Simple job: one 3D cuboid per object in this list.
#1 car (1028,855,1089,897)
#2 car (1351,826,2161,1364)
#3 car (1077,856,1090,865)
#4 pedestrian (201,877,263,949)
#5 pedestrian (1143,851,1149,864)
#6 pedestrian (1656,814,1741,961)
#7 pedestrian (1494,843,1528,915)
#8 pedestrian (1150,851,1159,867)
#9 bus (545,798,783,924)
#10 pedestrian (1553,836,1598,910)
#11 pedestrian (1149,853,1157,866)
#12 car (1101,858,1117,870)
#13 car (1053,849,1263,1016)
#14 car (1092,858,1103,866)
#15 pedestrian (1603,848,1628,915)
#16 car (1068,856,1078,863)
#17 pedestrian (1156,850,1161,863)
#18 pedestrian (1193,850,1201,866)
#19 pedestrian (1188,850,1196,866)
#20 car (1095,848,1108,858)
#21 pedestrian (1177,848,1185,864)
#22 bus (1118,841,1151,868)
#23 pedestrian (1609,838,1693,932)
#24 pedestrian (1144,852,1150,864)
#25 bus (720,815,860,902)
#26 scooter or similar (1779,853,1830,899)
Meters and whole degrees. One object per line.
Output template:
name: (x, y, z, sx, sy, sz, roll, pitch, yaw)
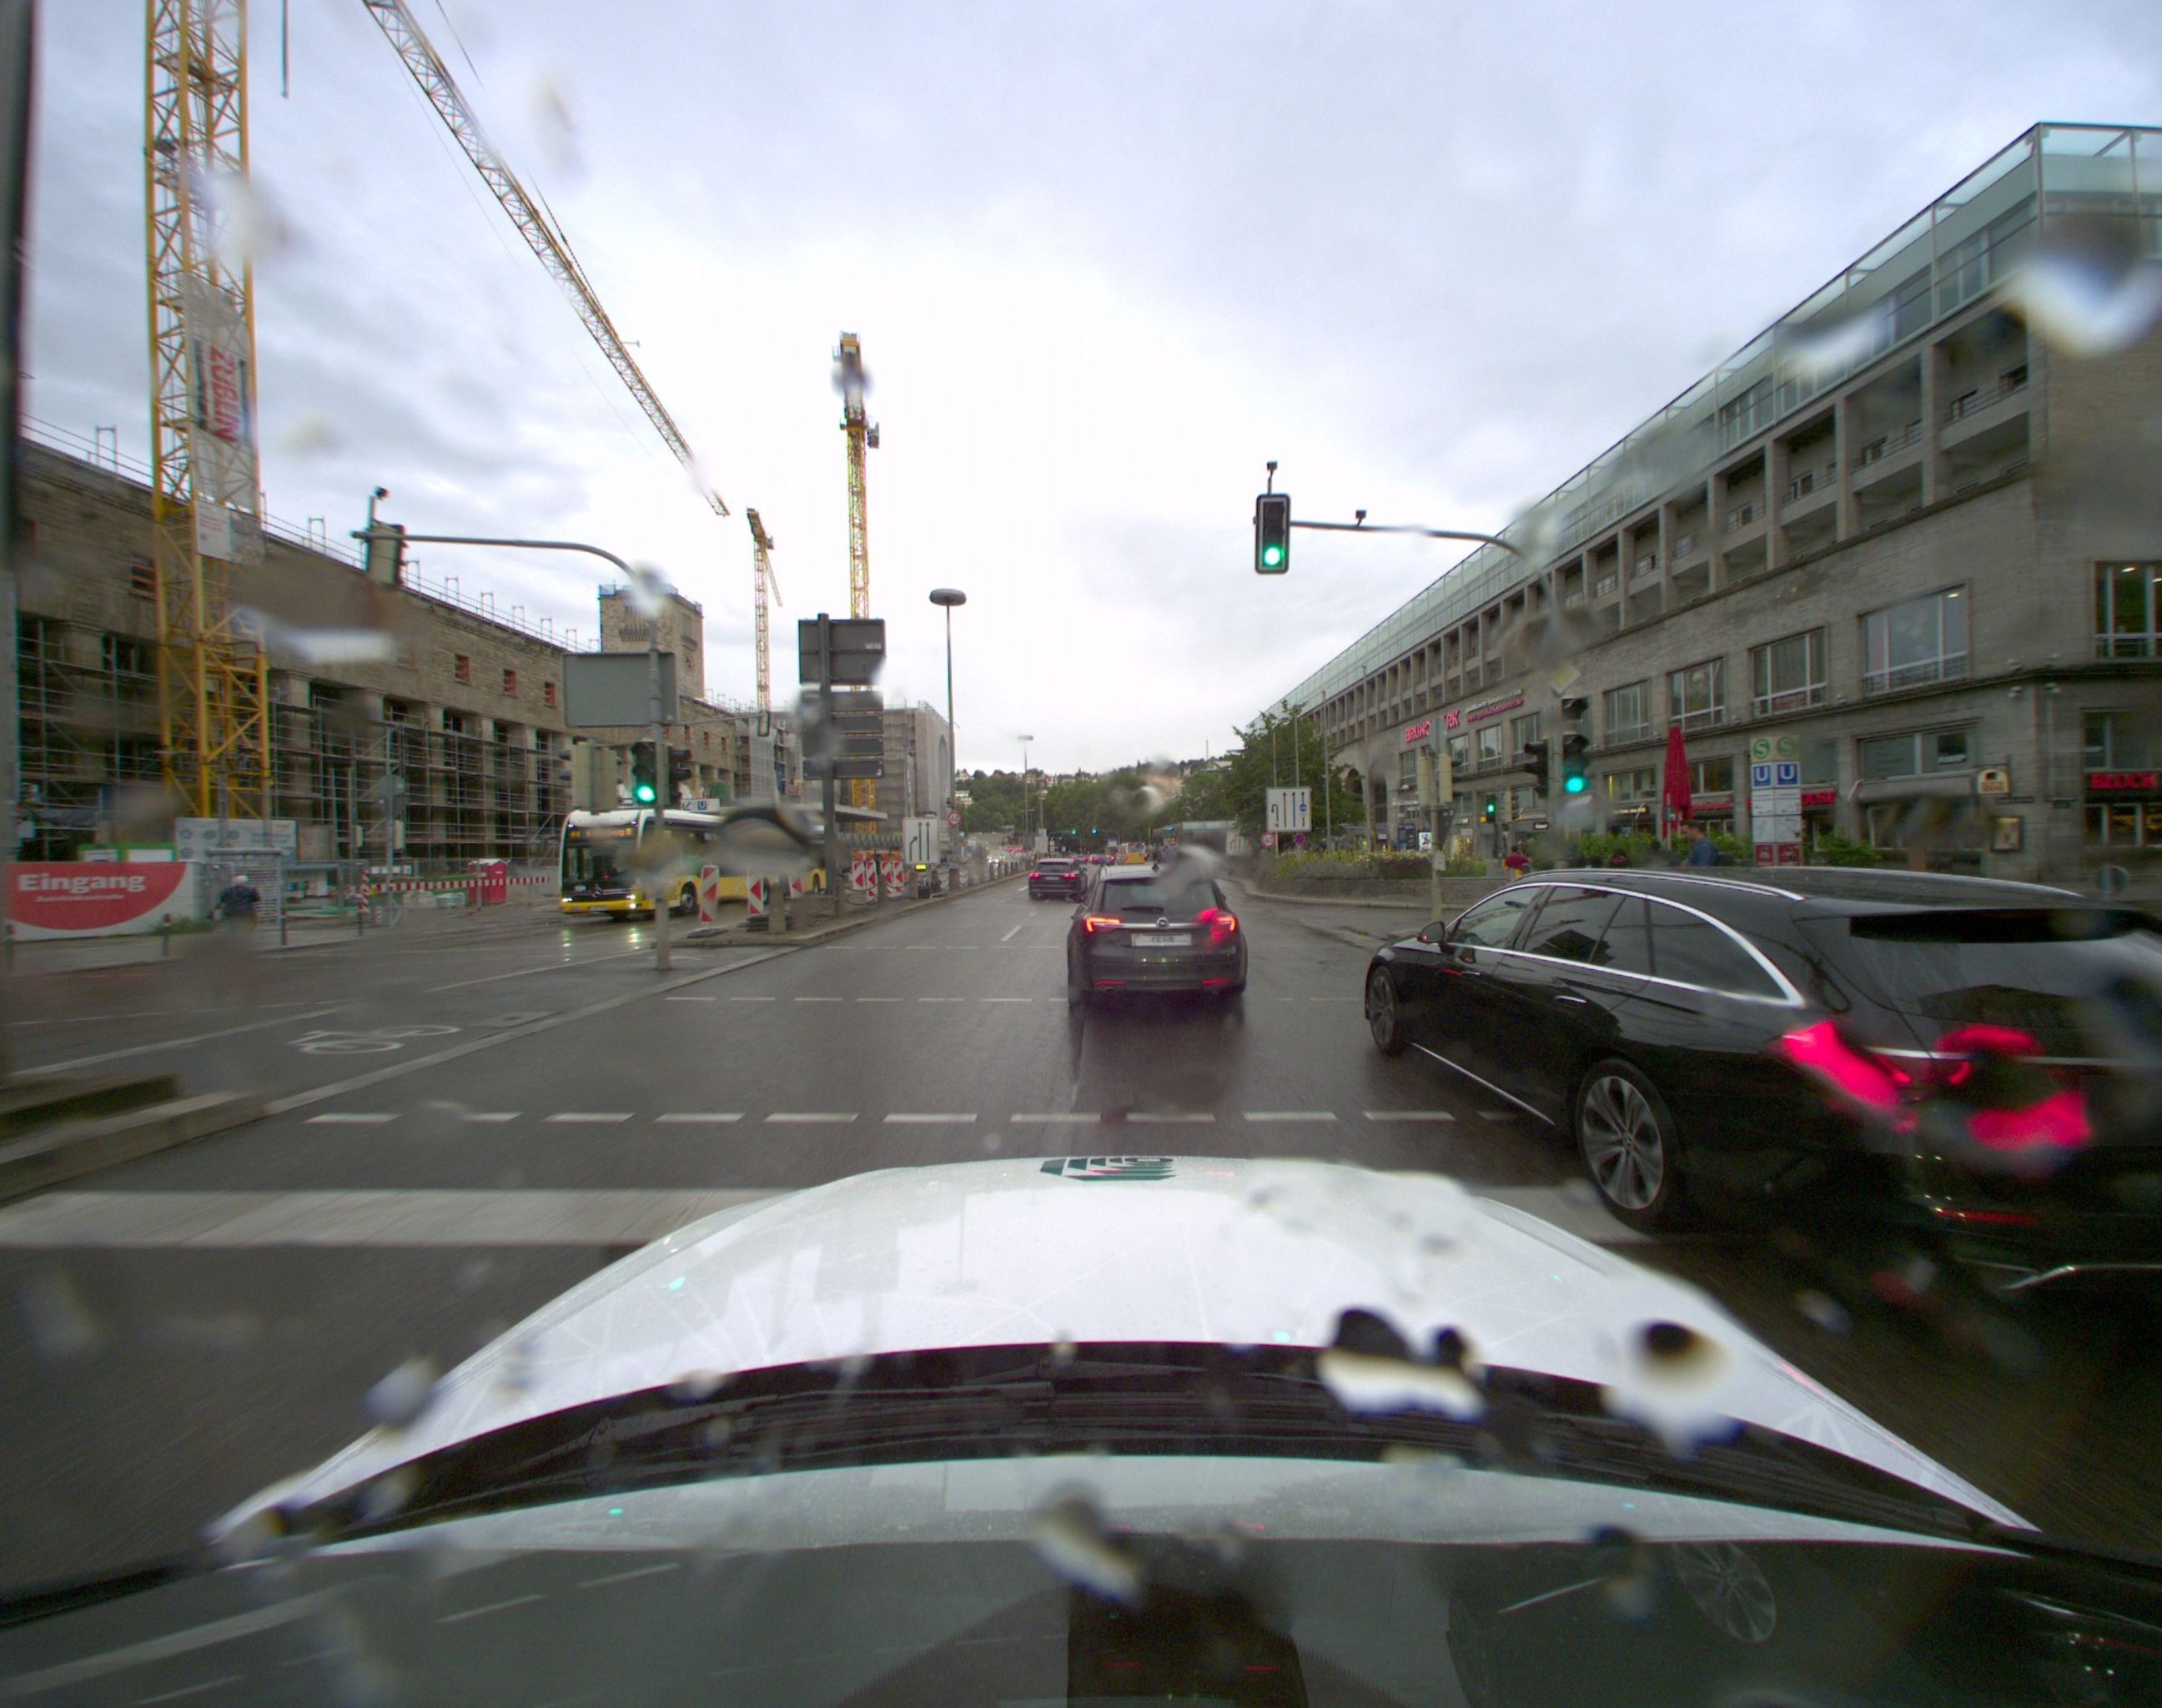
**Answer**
car: (-0.761, 0.805, 30.673, 1.847, 1.469, 4.591, 0, -1, 4)
car: (3.143, 0.711, 4.603, 1.787, 1.502, 4.629, 0, -1, 1)
car: (0.417, 1.082, 126.574, 1.838, 1.398, 3.565, 0, -1, 2)
pedestrian: (-18.992, 1.296, 18.233, 0.790, 1.561, 0.865, 1, -1, -37)
pedestrian: (11.483, 0.602, 143.844, 1.194, 2.149, 1.229, 0, -1, 3)
pedestrian: (7.722, 0.407, 10.196, 0.770, 1.756, 0.507, -1, -2, 45)
pedestrian: (10.695, 0.608, 20.233, 0.563, 1.752, 0.684, -1, -2, 44)
pedestrian: (10.821, 0.758, 120.122, 1.194, 2.435, 1.229, 0, -1, 3)
bus: (-13.810, 0.267, 28.431, 2.658, 3.602, 10.243, 0, -1, 2)
pedestrian: (11.663, 0.455, 19.217, 0.753, 1.718, 0.466, 0, -1, -2)
pedestrian: (11.749, 0.937, 133.397, 1.194, 2.149, 1.229, 0, -1, 3)
car: (3.419, 1.249, 99.845, 1.838, 1.398, 3.668, 0, -1, 2)
car: (0.742, 0.730, 9.285, 1.868, 1.486, 4.001, 0, -1, 1)
car: (2.949, 1.404, 146.674, 1.838, 1.398, 3.565, 0, 0, 2)
pedestrian: (12.302, 0.633, 18.744, 0.460, 1.517, 0.453, -1, -2, 35)
car: (-1.513, 1.086, 161.310, 1.752, 1.398, 3.565, 0, -1, 2)
pedestrian: (9.809, 0.284, 102.747, 0.655, 1.690, 0.609, 0, -1, 2)
pedestrian: (12.338, 0.392, 86.793, 0.761, 1.690, 0.824, 0, -1, -3)
pedestrian: (11.971, 0.408, 87.872, 0.761, 1.690, 0.824, 0, -1, -3)
car: (3.046, -0.126, 121.098, 1.748, 1.398, 4.647, 0, -1, -1)
pedestrian: (10.664, 0.209, 86.684, 0.761, 1.690, 0.824, 0, -1, -3)
bus: (7.239, 0.215, 113.461, 4.158, 3.469, 14.659, 0, -1, 2)
pedestrian: (11.125, 0.599, 15.928, 1.093, 1.751, 0.653, -3, -1, -1)
pedestrian: (12.096, 0.682, 149.020, 1.194, 2.149, 1.229, 0, -1, 3)
bus: (-13.416, 0.253, 38.758, 2.658, 3.602, 10.215, 0, -1, 2)
scooter or similar: (19.181, 0.570, 21.610, 0.290, 1.189, 1.014, 0, -1, -16)
